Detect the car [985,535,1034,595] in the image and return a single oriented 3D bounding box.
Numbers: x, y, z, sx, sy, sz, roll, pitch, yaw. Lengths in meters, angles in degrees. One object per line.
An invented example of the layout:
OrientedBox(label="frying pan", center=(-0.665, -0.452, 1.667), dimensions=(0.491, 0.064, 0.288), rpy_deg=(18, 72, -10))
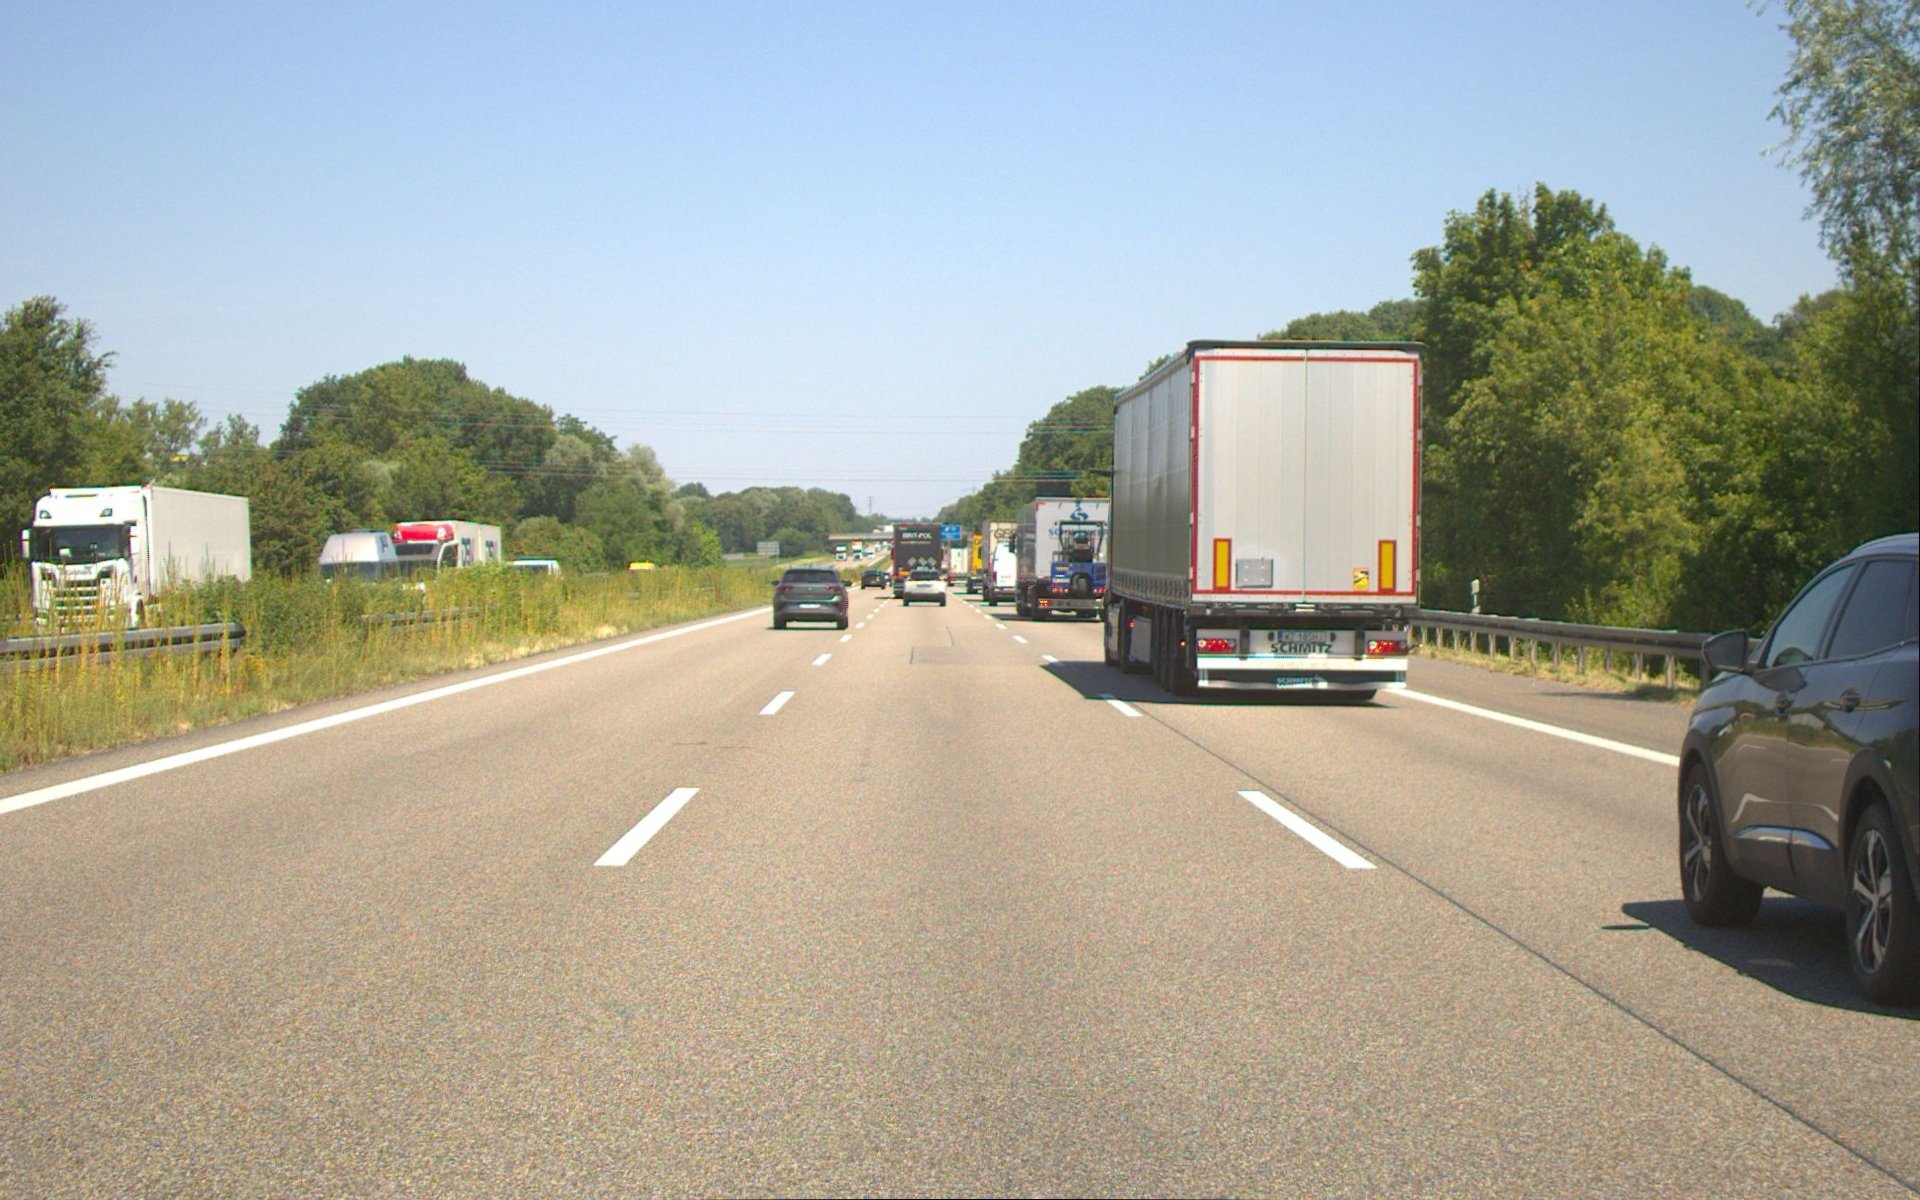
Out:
OrientedBox(label="car", center=(2.088, -1.502, 146.111), dimensions=(1.907, 2.417, 4.286), rpy_deg=(1, 2, -1))

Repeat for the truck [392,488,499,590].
OrientedBox(label="truck", center=(-22.655, -2.756, 151.951), dimensions=(3.071, 4.295, 10.627), rpy_deg=(1, 1, 0))

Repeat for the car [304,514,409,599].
OrientedBox(label="car", center=(-17.295, -1.256, 98.780), dimensions=(2.209, 2.354, 5.299), rpy_deg=(-1, 1, -2))

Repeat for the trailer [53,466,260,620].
OrientedBox(label="trailer", center=(-22.338, -1.654, 96.399), dimensions=(3.047, 4.025, 12.235), rpy_deg=(0, 1, -1))

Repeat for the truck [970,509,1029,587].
OrientedBox(label="truck", center=(1.944, -2.616, 170.316), dimensions=(2.792, 3.713, 7.108), rpy_deg=(1, 1, 1))

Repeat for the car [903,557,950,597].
OrientedBox(label="car", center=(-1.408, -0.988, 143.664), dimensions=(1.900, 1.525, 4.084), rpy_deg=(1, 2, -1))

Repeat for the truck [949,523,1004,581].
OrientedBox(label="truck", center=(1.126, -3.222, 229.515), dimensions=(3.489, 3.713, 7.108), rpy_deg=(1, 1, 1))

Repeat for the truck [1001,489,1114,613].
OrientedBox(label="truck", center=(3.150, -1.676, 113.820), dimensions=(3.057, 3.866, 10.035), rpy_deg=(1, 1, -2))

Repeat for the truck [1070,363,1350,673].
OrientedBox(label="truck", center=(3.520, -1.129, 50.346), dimensions=(3.464, 4.163, 6.844), rpy_deg=(1, 0, -1))

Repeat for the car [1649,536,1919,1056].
OrientedBox(label="car", center=(3.919, 0.577, 12.829), dimensions=(1.845, 1.623, 4.135), rpy_deg=(0, 1, 0))

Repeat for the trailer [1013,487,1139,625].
OrientedBox(label="trailer", center=(3.418, -1.390, 103.821), dimensions=(3.122, 3.913, 9.938), rpy_deg=(1, 1, -2))

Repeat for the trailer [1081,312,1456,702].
OrientedBox(label="trailer", center=(3.594, -1.090, 44.198), dimensions=(3.434, 4.167, 13.633), rpy_deg=(1, 1, 0))

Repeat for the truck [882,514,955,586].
OrientedBox(label="truck", center=(-2.206, -2.714, 185.202), dimensions=(3.667, 3.713, 7.108), rpy_deg=(1, 1, 1))

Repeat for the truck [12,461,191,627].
OrientedBox(label="truck", center=(-22.244, -1.487, 89.456), dimensions=(3.071, 4.097, 6.526), rpy_deg=(1, 1, -1))

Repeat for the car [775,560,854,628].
OrientedBox(label="car", center=(-3.566, -0.165, 84.773), dimensions=(1.759, 1.525, 4.286), rpy_deg=(1, 2, -1))

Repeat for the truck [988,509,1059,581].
OrientedBox(label="truck", center=(3.394, -3.022, 185.512), dimensions=(3.667, 3.713, 7.108), rpy_deg=(1, 1, 1))
